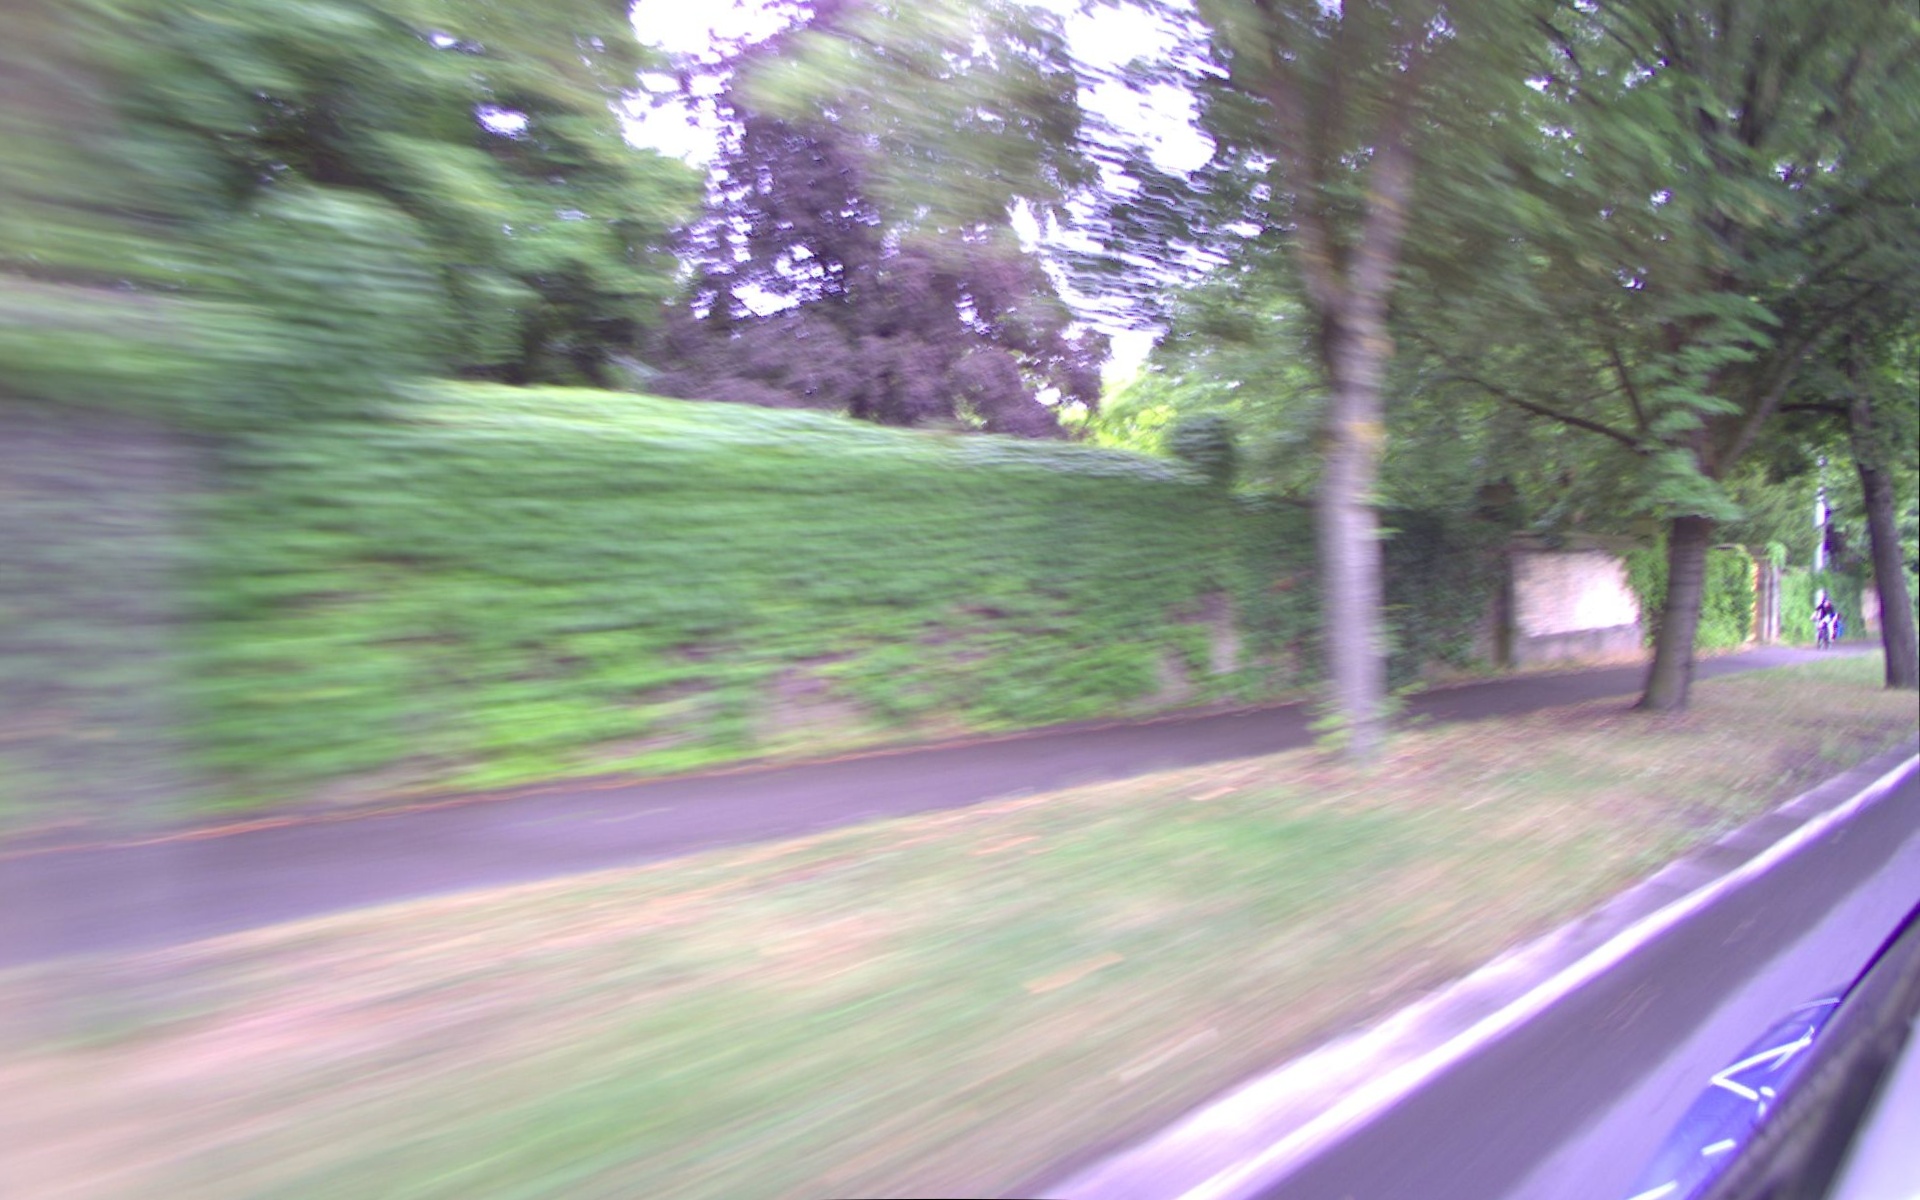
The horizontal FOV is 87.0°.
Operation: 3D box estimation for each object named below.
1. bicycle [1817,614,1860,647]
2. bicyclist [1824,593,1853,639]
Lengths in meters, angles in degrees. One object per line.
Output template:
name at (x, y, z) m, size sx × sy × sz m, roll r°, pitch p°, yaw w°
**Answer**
bicycle at (27.647, 0.941, 31.829) m, size 2.502 × 0.960 × 0.544 m, roll 0°, pitch 1°, yaw -38°
bicyclist at (27.543, 0.489, 31.737) m, size 0.654 × 1.407 × 0.536 m, roll 1°, pitch 1°, yaw -38°
